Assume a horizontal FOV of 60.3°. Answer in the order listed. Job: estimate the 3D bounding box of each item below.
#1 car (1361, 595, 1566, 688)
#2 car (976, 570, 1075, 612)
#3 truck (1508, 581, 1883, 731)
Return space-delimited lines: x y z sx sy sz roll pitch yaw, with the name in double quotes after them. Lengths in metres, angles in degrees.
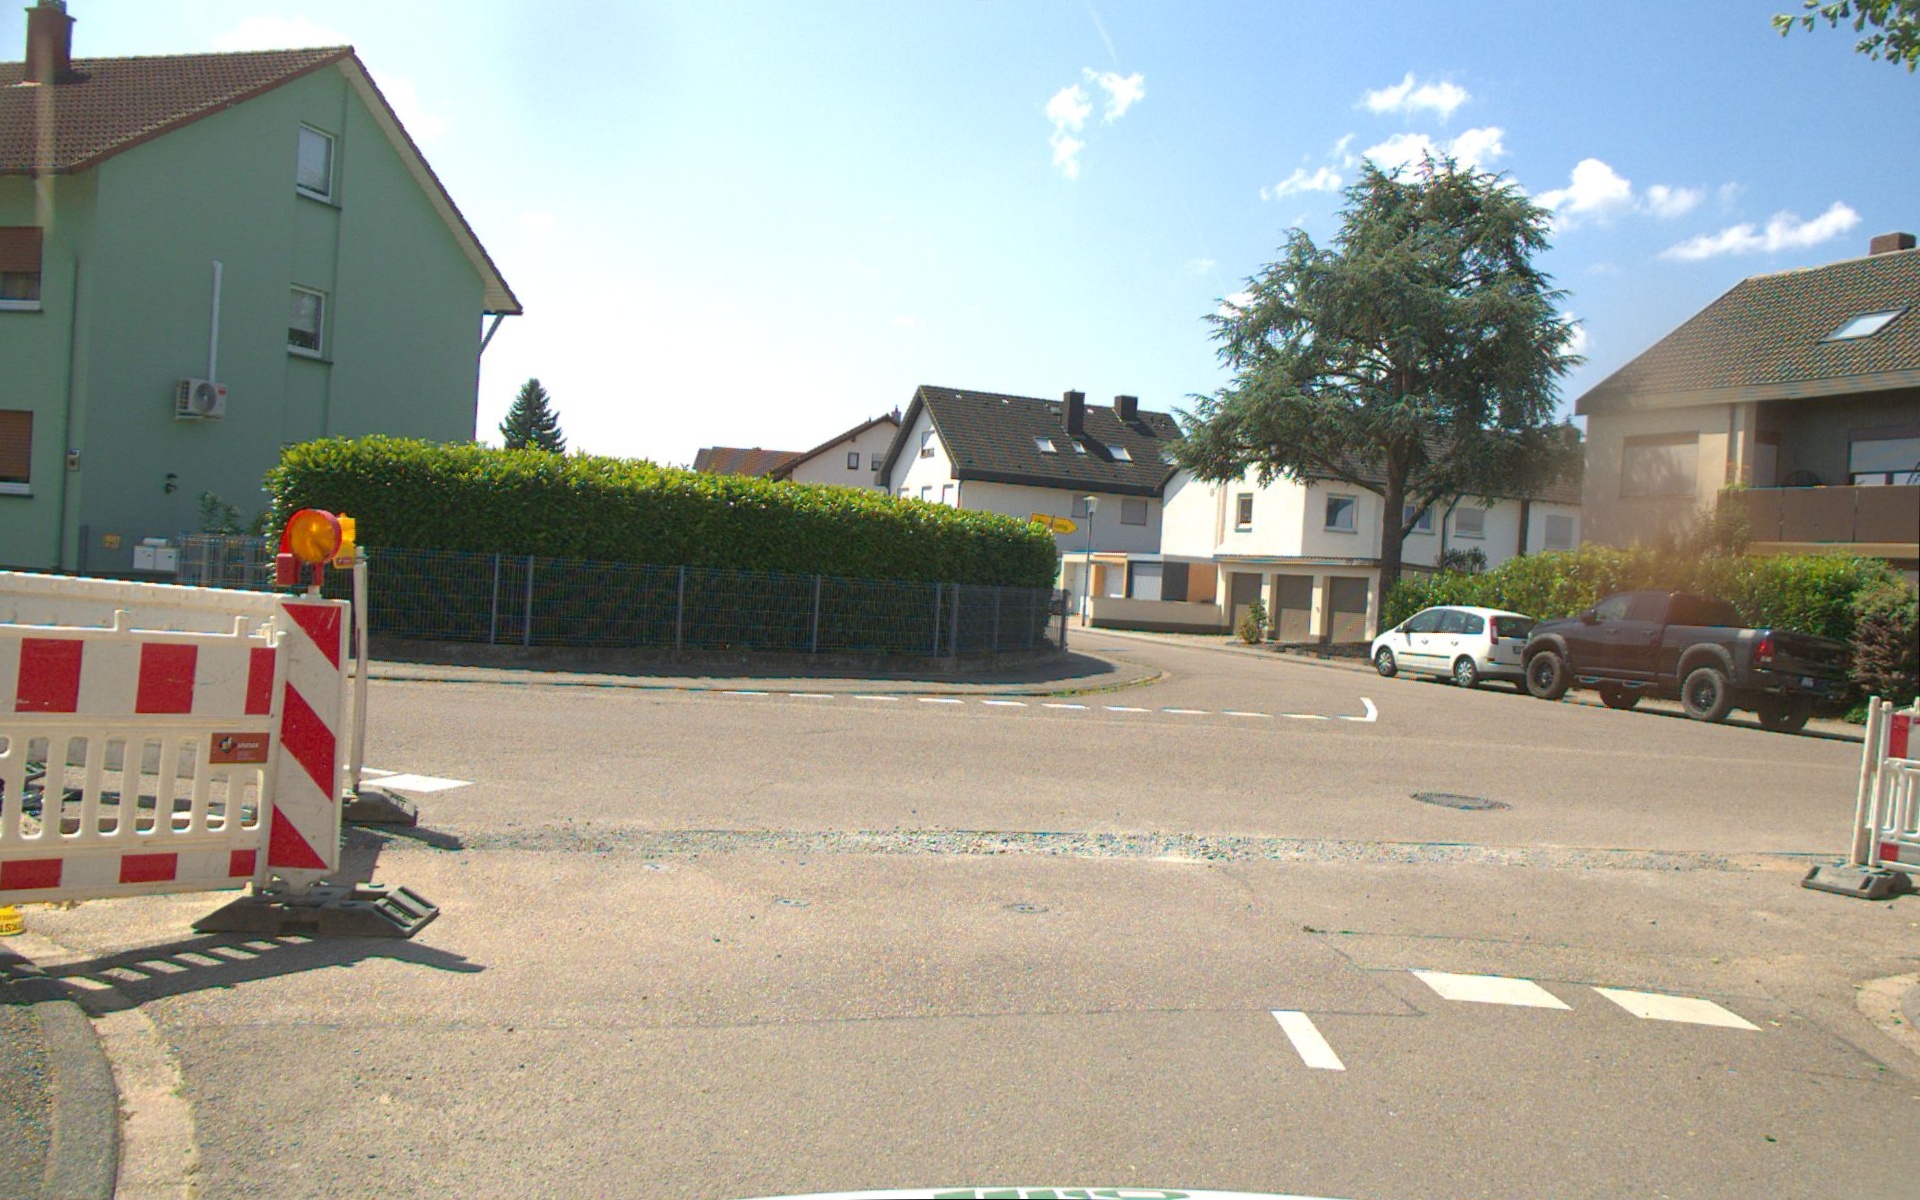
10.349 0.819 34.320 1.774 1.590 4.114 3 1 -23 "car"
2.653 -0.373 67.151 3.548 1.433 1.773 3 1 -22 "car"
12.292 0.860 28.190 2.333 2.048 5.671 3 1 -24 "truck"
